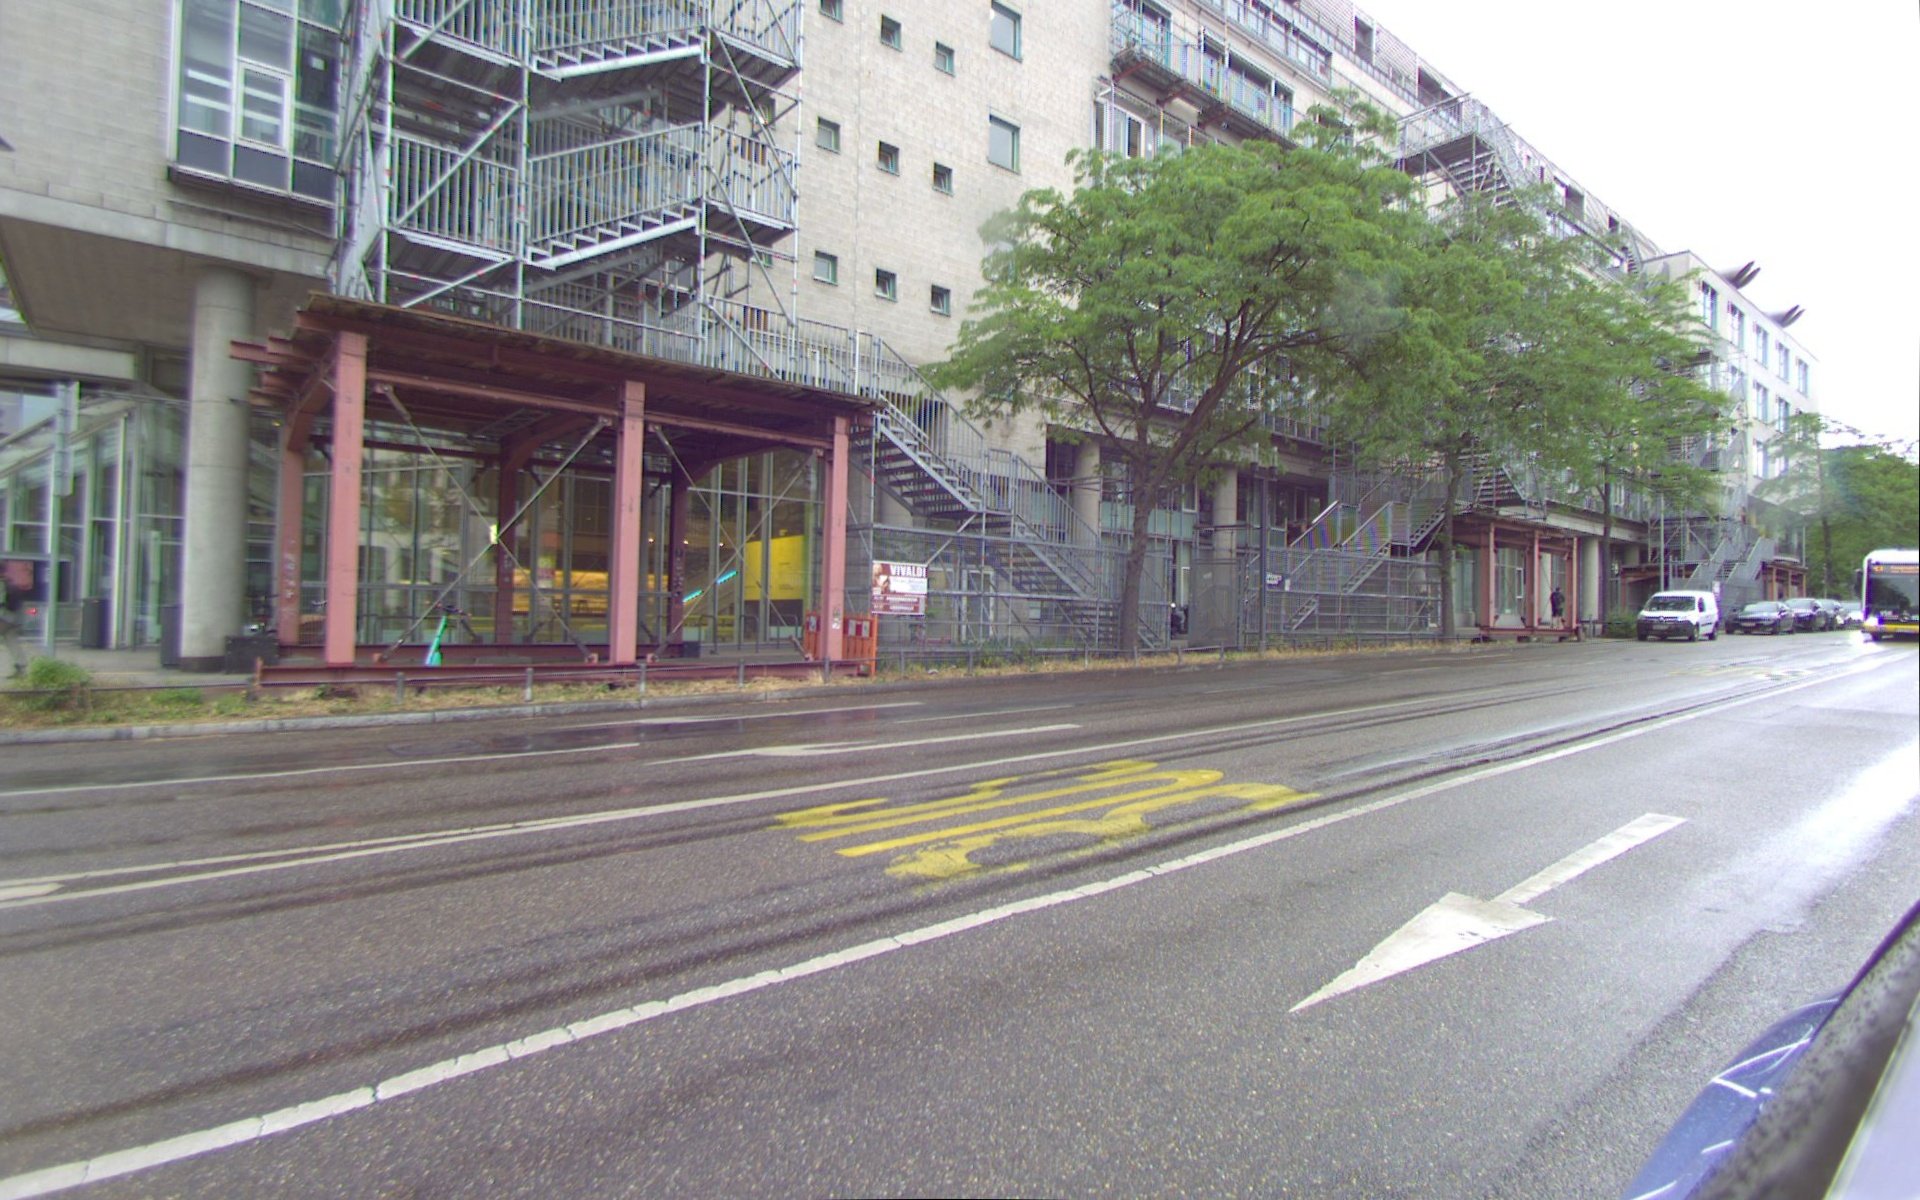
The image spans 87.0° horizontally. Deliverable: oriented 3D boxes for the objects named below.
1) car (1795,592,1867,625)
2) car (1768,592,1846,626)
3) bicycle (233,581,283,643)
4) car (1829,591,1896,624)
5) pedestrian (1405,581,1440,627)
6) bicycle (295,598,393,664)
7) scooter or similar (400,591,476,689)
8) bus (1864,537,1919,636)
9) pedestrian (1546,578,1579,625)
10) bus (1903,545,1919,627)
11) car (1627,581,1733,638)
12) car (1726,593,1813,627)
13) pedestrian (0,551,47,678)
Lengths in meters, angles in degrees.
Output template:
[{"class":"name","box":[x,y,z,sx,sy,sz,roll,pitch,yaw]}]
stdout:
[{"class":"car","box":[44.360,0.373,51.532,4.733,1.580,2.145,-1,1,-41]},{"class":"car","box":[40.248,0.401,48.071,4.733,1.513,2.145,-1,1,-41]},{"class":"bicycle","box":[-14.394,0.231,20.735,0.577,1.209,1.611,0,0,-44]},{"class":"car","box":[48.933,0.363,54.857,4.733,1.667,2.145,-1,0,-41]},{"class":"pedestrian","box":[18.438,0.157,40.330,0.831,1.822,1.009,0,0,-40]},{"class":"bicycle","box":[-11.986,0.575,19.741,0.580,1.209,1.602,0,0,24]},{"class":"scooter or similar","box":[-6.938,0.488,13.417,0.576,1.209,1.782,1,0,-38]},{"class":"bus","box":[37.455,-0.538,38.859,9.586,3.494,2.888,-1,0,-41]},{"class":"pedestrian","box":[26.644,0.063,44.748,1.021,2.039,1.009,0,0,-41]},{"class":"bus","box":[44.685,-0.632,45.098,9.541,3.483,2.888,-1,0,-41]},{"class":"car","box":[26.067,0.303,36.592,4.254,1.930,2.211,-1,0,-41]},{"class":"car","box":[35.092,0.409,43.820,4.733,1.353,2.145,-1,1,-41]},{"class":"pedestrian","box":[-13.866,0.206,14.638,0.774,1.798,0.783,0,0,31]}]
